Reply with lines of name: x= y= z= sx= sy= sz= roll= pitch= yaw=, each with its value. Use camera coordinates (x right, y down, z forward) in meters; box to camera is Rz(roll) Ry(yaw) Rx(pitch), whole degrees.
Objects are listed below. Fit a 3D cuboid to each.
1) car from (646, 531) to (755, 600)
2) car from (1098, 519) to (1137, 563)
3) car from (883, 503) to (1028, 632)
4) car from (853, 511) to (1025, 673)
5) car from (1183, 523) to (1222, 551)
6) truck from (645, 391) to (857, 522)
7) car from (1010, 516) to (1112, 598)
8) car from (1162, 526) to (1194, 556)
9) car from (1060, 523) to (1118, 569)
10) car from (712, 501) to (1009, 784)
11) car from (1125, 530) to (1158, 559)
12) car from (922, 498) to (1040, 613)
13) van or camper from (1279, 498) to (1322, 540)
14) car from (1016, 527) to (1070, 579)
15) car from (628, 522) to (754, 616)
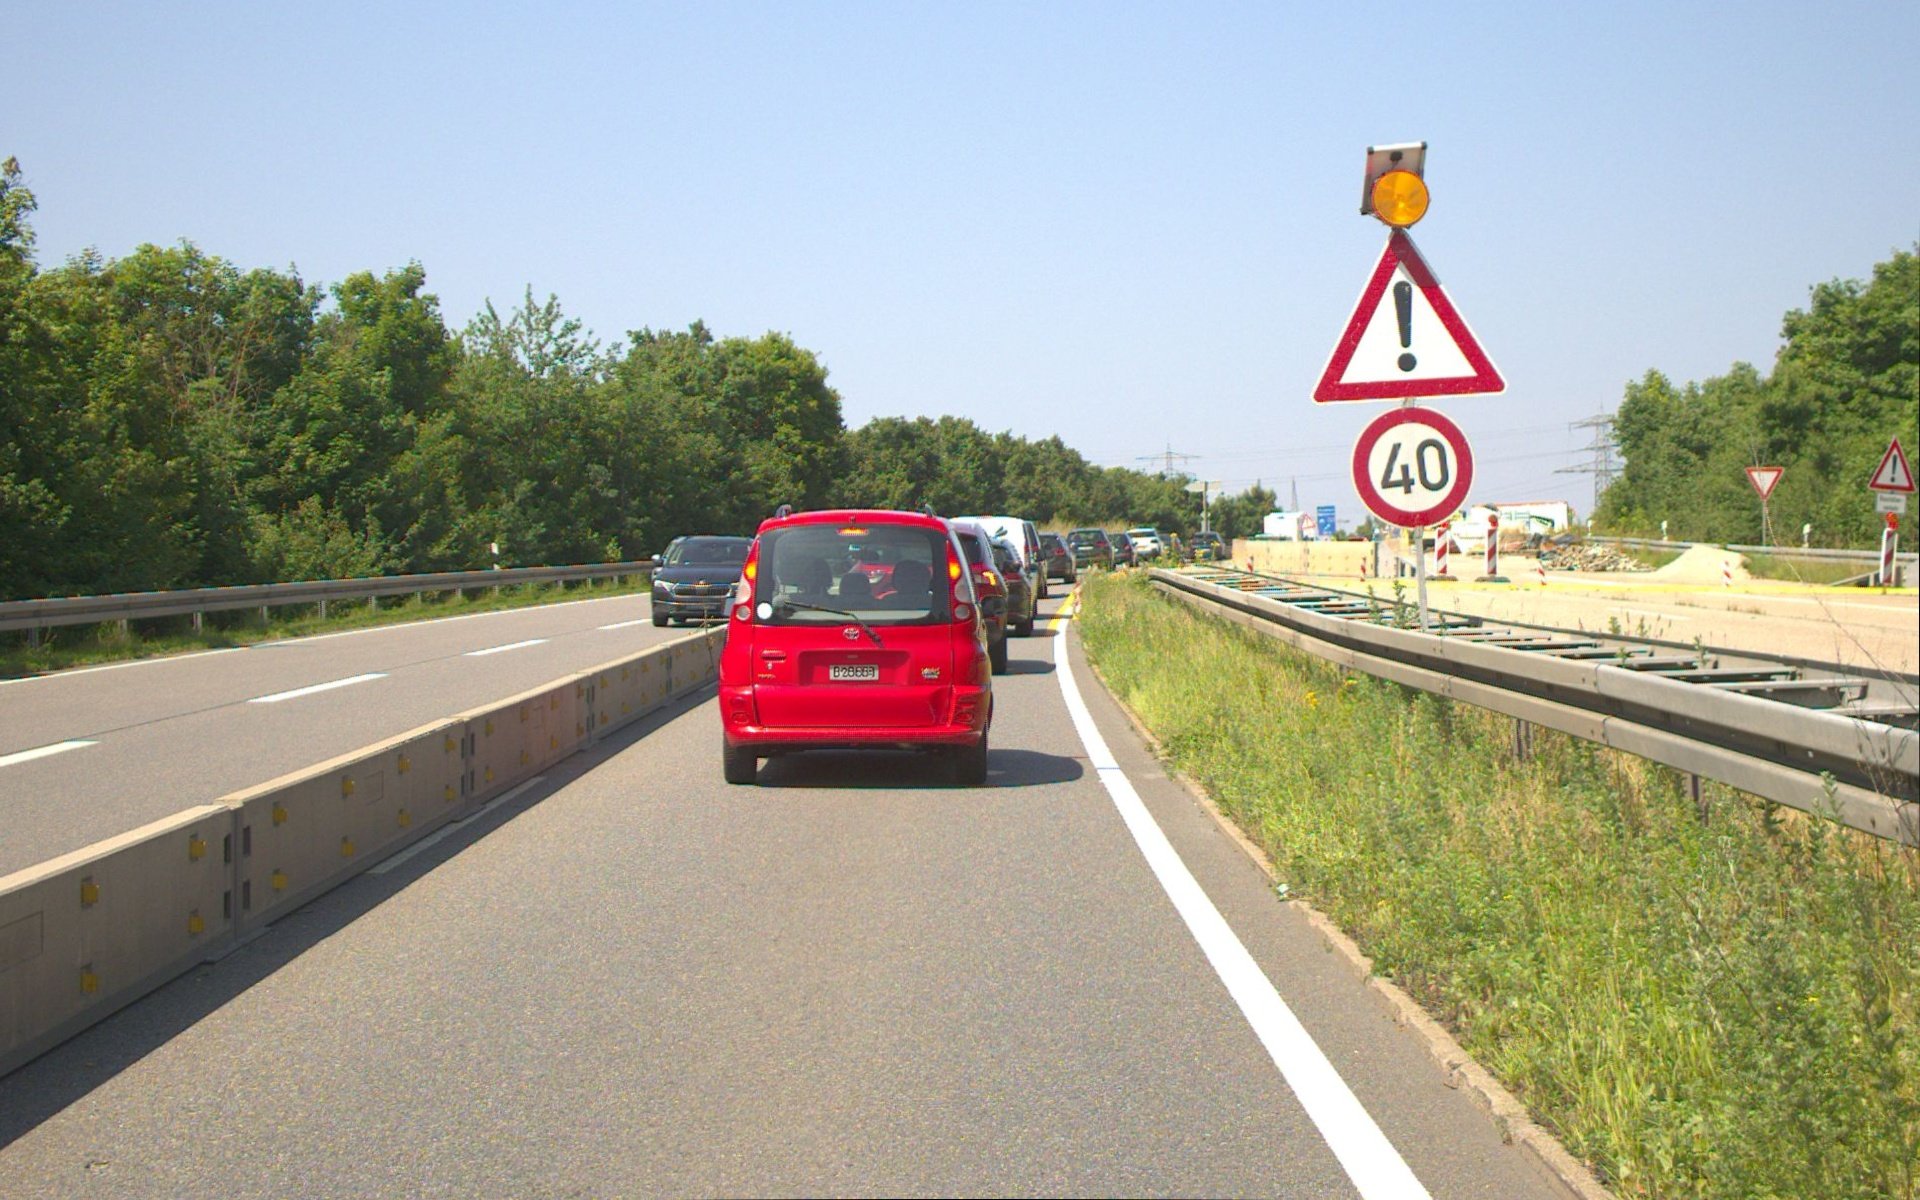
car: x=-5.552 y=-0.763 z=74.003 sx=1.949 sy=1.417 sz=4.353 roll=-1 pitch=1 yaw=1
car: x=6.307 y=-2.362 z=137.799 sx=1.502 sy=1.730 sz=3.170 roll=0 pitch=1 yaw=2
car: x=-0.028 y=-0.491 z=51.556 sx=1.994 sy=1.831 sz=4.000 roll=-1 pitch=1 yaw=2
car: x=-0.233 y=-0.126 z=38.469 sx=1.830 sy=1.716 sz=4.000 roll=0 pitch=1 yaw=0
car: x=13.593 y=-3.535 z=193.197 sx=1.993 sy=1.546 sz=4.000 roll=0 pitch=1 yaw=1
truck: x=-8.917 y=-6.111 z=147.319 sx=8.621 sy=5.357 sz=3.389 roll=-1 pitch=1 yaw=3
car: x=2.181 y=-0.954 z=75.514 sx=1.993 sy=1.744 sz=4.001 roll=0 pitch=1 yaw=-2
car: x=10.752 y=-2.901 z=169.433 sx=1.502 sy=1.446 sz=3.170 roll=-1 pitch=1 yaw=4
car: x=4.584 y=-1.927 z=121.913 sx=1.994 sy=1.579 sz=4.000 roll=0 pitch=1 yaw=3
car: x=-0.661 y=0.213 z=22.261 sx=1.751 sy=1.667 sz=4.001 roll=0 pitch=1 yaw=-2
car: x=8.097 y=-2.474 z=153.402 sx=1.421 sy=1.294 sz=2.879 roll=0 pitch=1 yaw=4
car: x=0.347 y=-0.818 z=62.101 sx=1.993 sy=1.997 sz=4.000 roll=0 pitch=1 yaw=-1
van or camper: x=22.399 y=-5.337 z=226.445 sx=2.328 sy=2.697 sz=4.593 roll=-1 pitch=1 yaw=-1
car: x=2.346 y=-1.345 z=97.142 sx=1.502 sy=1.446 sz=3.325 roll=0 pitch=1 yaw=2
car: x=-4.433 y=-0.539 z=57.110 sx=1.822 sy=1.477 sz=4.257 roll=-1 pitch=1 yaw=-1
